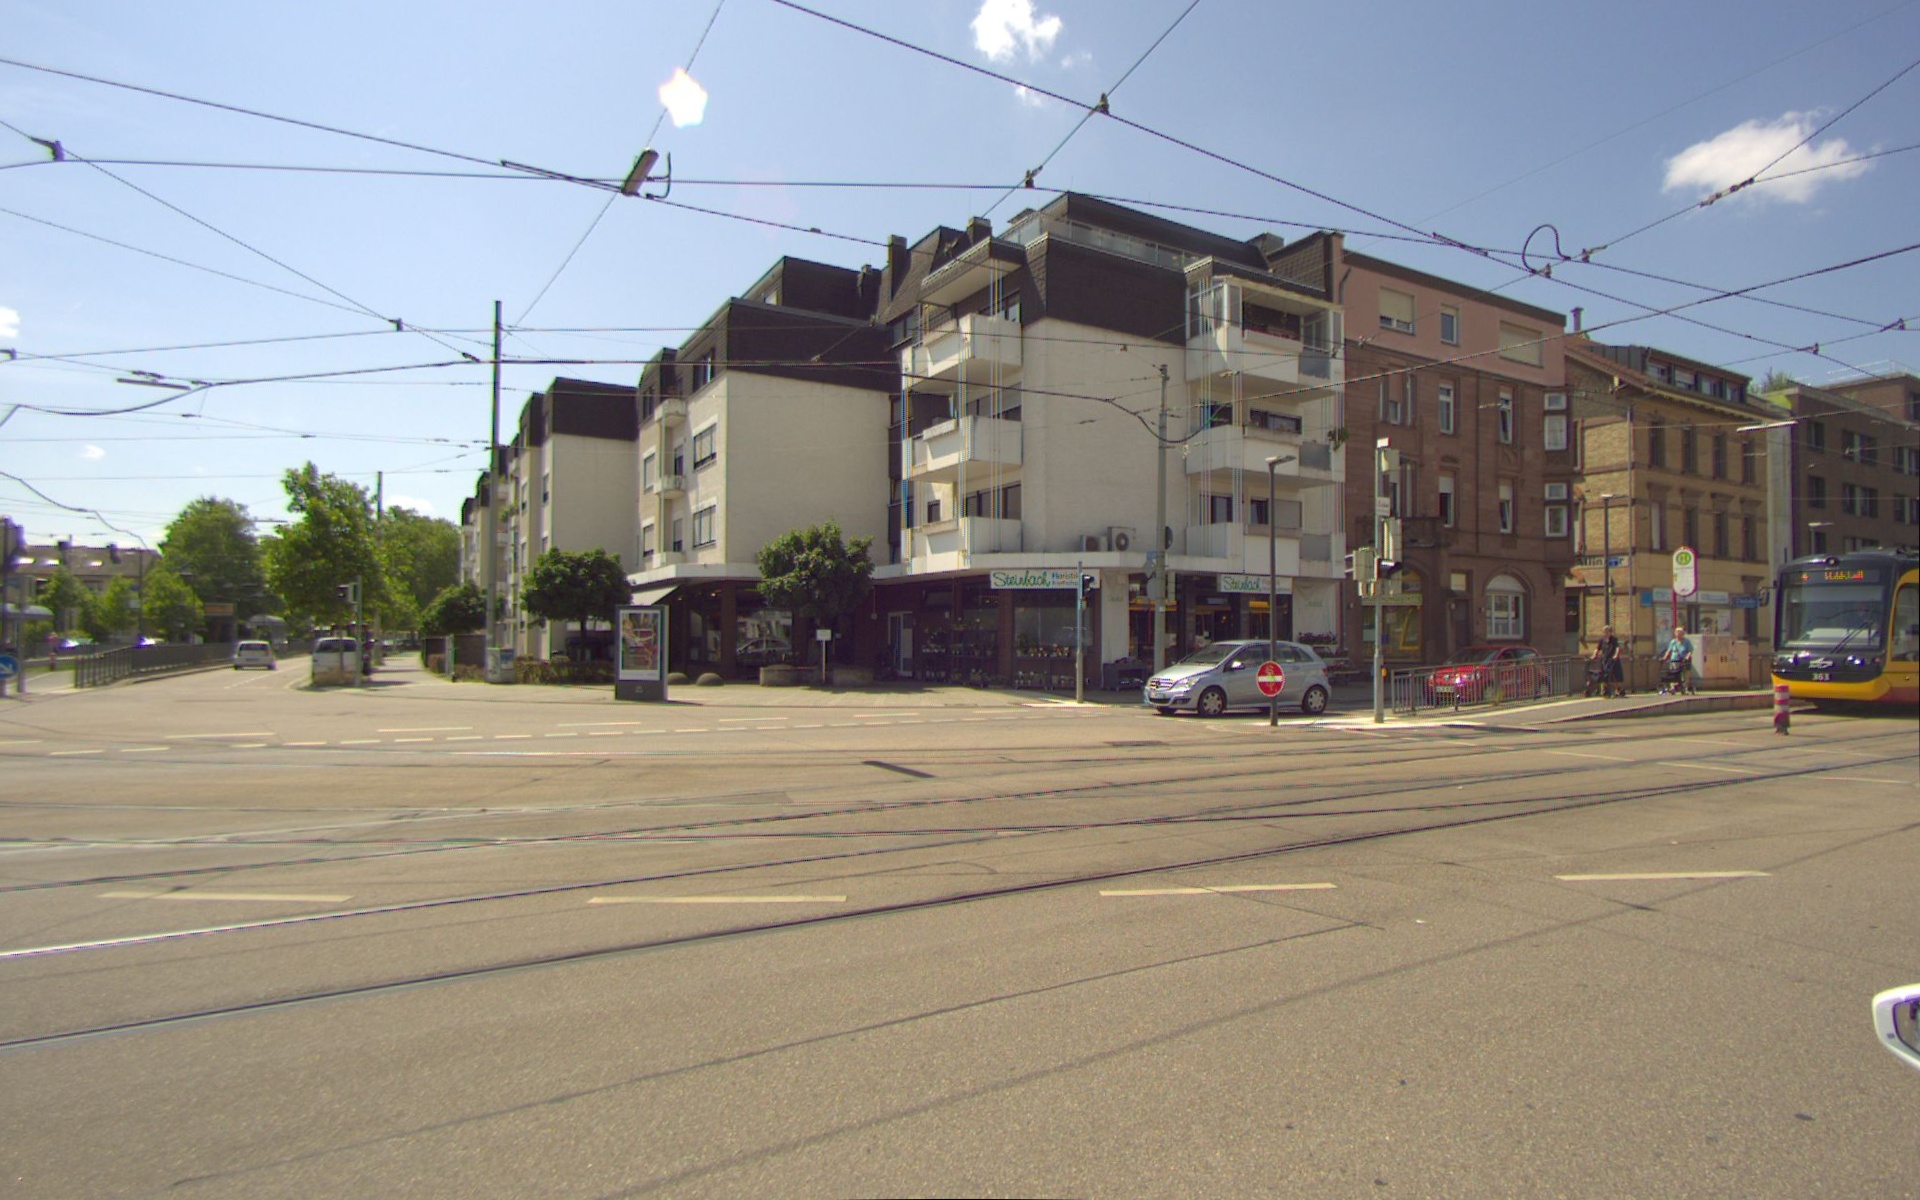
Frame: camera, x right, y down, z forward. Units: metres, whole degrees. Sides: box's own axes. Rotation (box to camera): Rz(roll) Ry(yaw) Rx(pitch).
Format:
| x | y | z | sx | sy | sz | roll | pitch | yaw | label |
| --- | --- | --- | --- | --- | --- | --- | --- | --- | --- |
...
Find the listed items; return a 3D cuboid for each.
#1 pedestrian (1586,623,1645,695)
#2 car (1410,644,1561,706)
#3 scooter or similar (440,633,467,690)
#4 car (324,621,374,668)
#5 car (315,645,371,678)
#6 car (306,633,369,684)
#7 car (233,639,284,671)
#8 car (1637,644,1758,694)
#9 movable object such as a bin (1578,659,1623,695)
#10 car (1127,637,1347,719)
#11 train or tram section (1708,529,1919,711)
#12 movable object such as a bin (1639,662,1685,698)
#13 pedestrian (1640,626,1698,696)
| x | y | z | sx | sy | sz | roll | pitch | yaw | label |
| --- | --- | --- | --- | --- | --- | --- | --- | --- | --- |
| 14.879 | 1.336 | 22.819 | 0.909 | 1.580 | 0.782 | 1 | -3 | -31 | pedestrian |
| 13.467 | 1.870 | 25.710 | 3.808 | 1.463 | 1.647 | 1 | -3 | -31 | car |
| -17.164 | 2.064 | 34.006 | 0.611 | 1.870 | 1.996 | 1 | -3 | -32 | scooter or similar |
| -32.762 | 2.405 | 53.979 | 2.190 | 2.369 | 5.178 | 1 | -3 | -30 | car |
| -27.202 | 2.660 | 44.242 | 1.979 | 1.350 | 4.778 | 2 | -3 | -33 | car |
| -24.303 | 2.247 | 39.167 | 1.979 | 1.863 | 4.778 | 1 | -3 | -33 | car |
| -37.235 | 2.877 | 53.420 | 1.978 | 1.627 | 4.779 | 1 | -2 | -32 | car |
| 23.473 | 2.177 | 31.957 | 3.742 | 1.475 | 1.644 | 1 | -4 | -29 | car |
| 14.306 | 1.714 | 22.442 | 0.532 | 0.790 | 0.671 | 1 | -3 | -32 | movable object such as a bin |
| 6.017 | 1.627 | 21.762 | 4.541 | 1.636 | 1.731 | 1 | -3 | -24 | car |
| 26.491 | 0.758 | 26.613 | 20.266 | 3.613 | 3.235 | 2 | -3 | -31 | train or tram section |
| 16.168 | 1.828 | 23.136 | 0.612 | 0.790 | 0.671 | 1 | -3 | -32 | movable object such as a bin |
| 16.542 | 1.418 | 23.440 | 0.909 | 1.580 | 0.782 | 1 | -3 | -31 | pedestrian |
